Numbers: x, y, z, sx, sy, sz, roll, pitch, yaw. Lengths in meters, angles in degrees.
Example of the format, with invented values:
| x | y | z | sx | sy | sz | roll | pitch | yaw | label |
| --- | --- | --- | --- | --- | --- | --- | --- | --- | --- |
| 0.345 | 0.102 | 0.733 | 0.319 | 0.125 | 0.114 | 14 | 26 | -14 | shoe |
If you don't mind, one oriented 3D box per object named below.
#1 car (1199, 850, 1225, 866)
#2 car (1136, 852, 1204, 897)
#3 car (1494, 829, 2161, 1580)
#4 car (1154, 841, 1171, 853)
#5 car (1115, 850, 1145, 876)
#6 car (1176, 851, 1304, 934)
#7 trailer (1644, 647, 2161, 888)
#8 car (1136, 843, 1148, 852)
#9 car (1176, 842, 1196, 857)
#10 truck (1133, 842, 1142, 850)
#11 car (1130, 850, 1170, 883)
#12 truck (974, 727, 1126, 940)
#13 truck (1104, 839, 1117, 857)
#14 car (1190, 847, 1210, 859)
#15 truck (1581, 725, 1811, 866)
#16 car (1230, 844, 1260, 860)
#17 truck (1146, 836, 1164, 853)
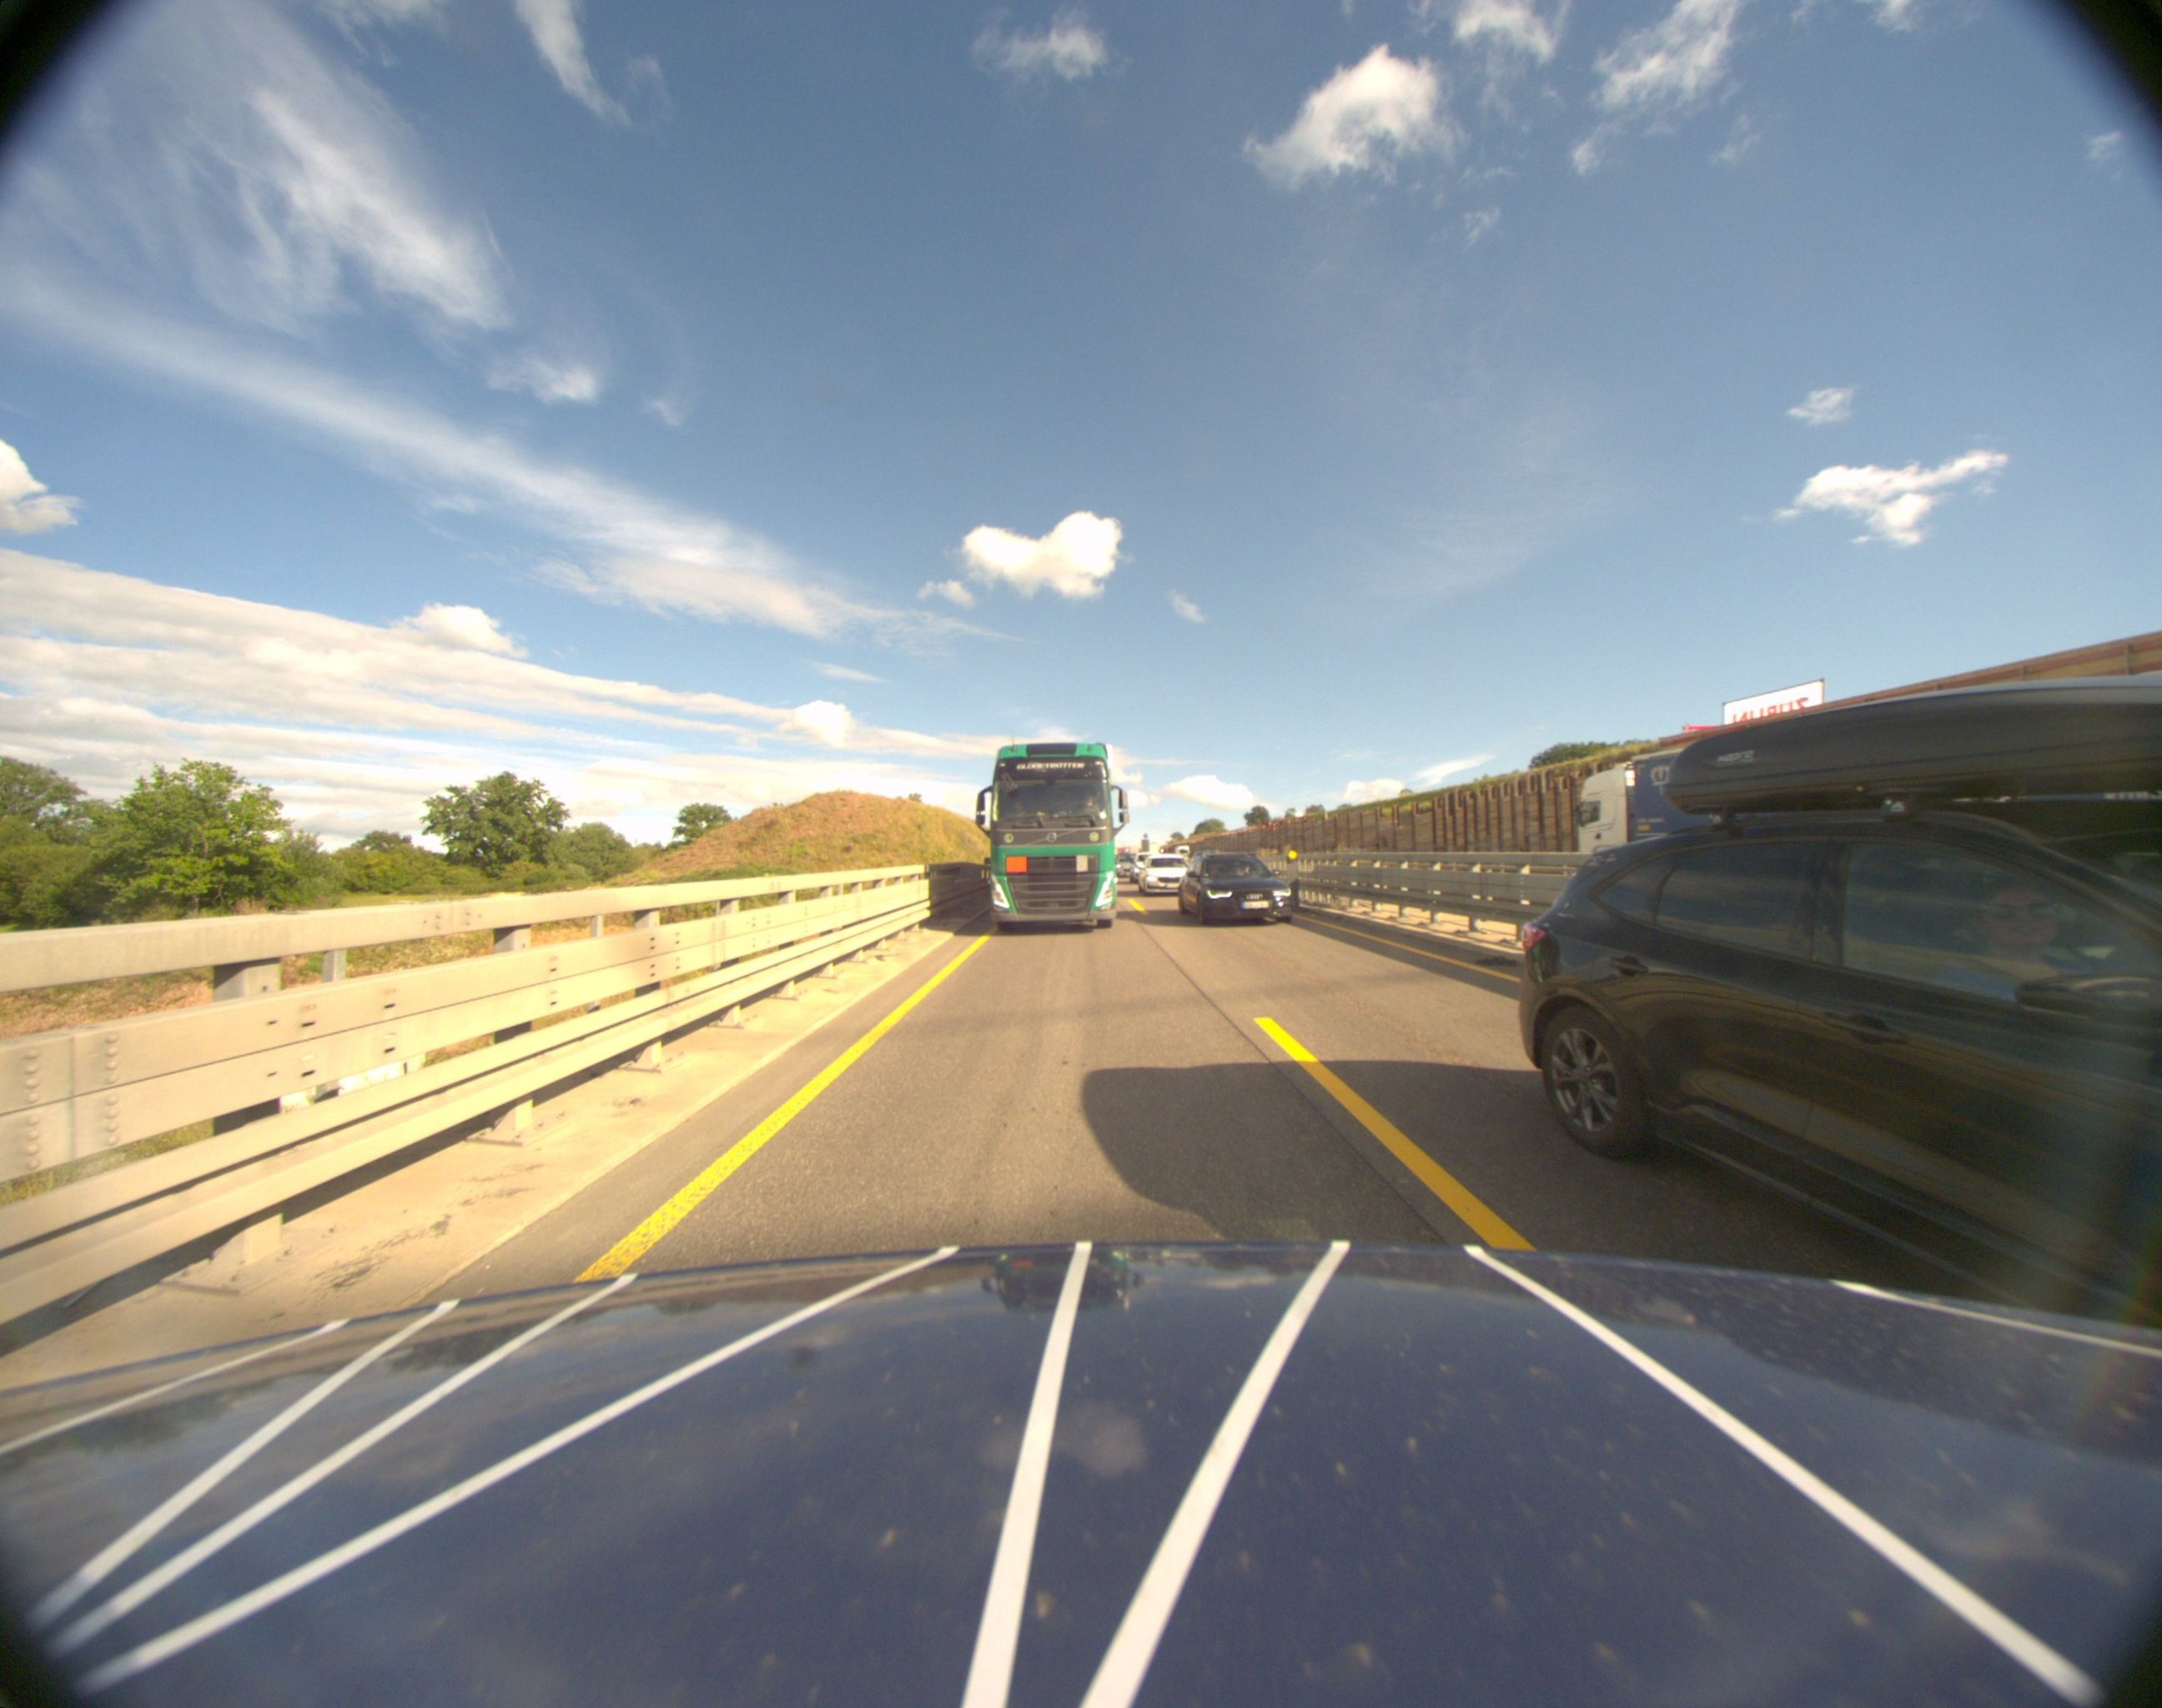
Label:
| x | y | z | sx | sy | sz | roll | pitch | yaw | label |
| --- | --- | --- | --- | --- | --- | --- | --- | --- | --- |
| 13.968 | 0.424 | 81.099 | 1.949 | 1.422 | 4.406 | -3 | 1 | 0 | car |
| 3.188 | 0.701 | 28.040 | 1.949 | 1.422 | 4.408 | -4 | 0 | 0 | car |
| 3.209 | 0.751 | 2.005 | 1.804 | 1.533 | 4.383 | -4 | 1 | 0 | car |
| 17.063 | -1.543 | 159.015 | 2.887 | 2.329 | 6.404 | -2 | 1 | 0 | car |
| 3.125 | 0.547 | 48.934 | 1.659 | 1.510 | 3.999 | -2 | 1 | 0 | car |
| 3.334 | 0.733 | 16.862 | 1.949 | 1.422 | 4.504 | -3 | 1 | 1 | car |
| 17.773 | -1.422 | 15.242 | 2.870 | 3.646 | 13.525 | -2 | 1 | 0 | trailer |
| 17.472 | -1.936 | 219.338 | 2.887 | 2.329 | 6.404 | -2 | 1 | 0 | car |
| 17.865 | -0.767 | 129.617 | 2.572 | 2.329 | 6.404 | -2 | 1 | 0 | car |
| 18.217 | -2.622 | 244.599 | 2.383 | 2.503 | 6.552 | -2 | 1 | 0 | truck |
| 3.506 | 0.595 | 39.265 | 1.659 | 1.510 | 3.999 | -2 | 1 | 0 | car |
| -0.562 | -0.461 | 19.172 | 2.663 | 3.825 | 10.315 | -2 | 1 | 0 | truck |
| 6.767 | -1.486 | 175.696 | 2.663 | 3.825 | 10.315 | -2 | 1 | 0 | truck |
| 16.616 | -0.156 | 106.439 | 1.949 | 1.422 | 4.406 | -3 | 1 | 0 | car |
| 17.748 | -1.580 | 22.370 | 2.849 | 3.608 | 4.809 | -2 | 1 | 0 | truck |
| 16.795 | -0.247 | 78.054 | 1.949 | 1.422 | 4.406 | -3 | 1 | 0 | car |
| 17.594 | -2.207 | 180.816 | 3.178 | 3.843 | 8.232 | -2 | 1 | 0 | truck |
